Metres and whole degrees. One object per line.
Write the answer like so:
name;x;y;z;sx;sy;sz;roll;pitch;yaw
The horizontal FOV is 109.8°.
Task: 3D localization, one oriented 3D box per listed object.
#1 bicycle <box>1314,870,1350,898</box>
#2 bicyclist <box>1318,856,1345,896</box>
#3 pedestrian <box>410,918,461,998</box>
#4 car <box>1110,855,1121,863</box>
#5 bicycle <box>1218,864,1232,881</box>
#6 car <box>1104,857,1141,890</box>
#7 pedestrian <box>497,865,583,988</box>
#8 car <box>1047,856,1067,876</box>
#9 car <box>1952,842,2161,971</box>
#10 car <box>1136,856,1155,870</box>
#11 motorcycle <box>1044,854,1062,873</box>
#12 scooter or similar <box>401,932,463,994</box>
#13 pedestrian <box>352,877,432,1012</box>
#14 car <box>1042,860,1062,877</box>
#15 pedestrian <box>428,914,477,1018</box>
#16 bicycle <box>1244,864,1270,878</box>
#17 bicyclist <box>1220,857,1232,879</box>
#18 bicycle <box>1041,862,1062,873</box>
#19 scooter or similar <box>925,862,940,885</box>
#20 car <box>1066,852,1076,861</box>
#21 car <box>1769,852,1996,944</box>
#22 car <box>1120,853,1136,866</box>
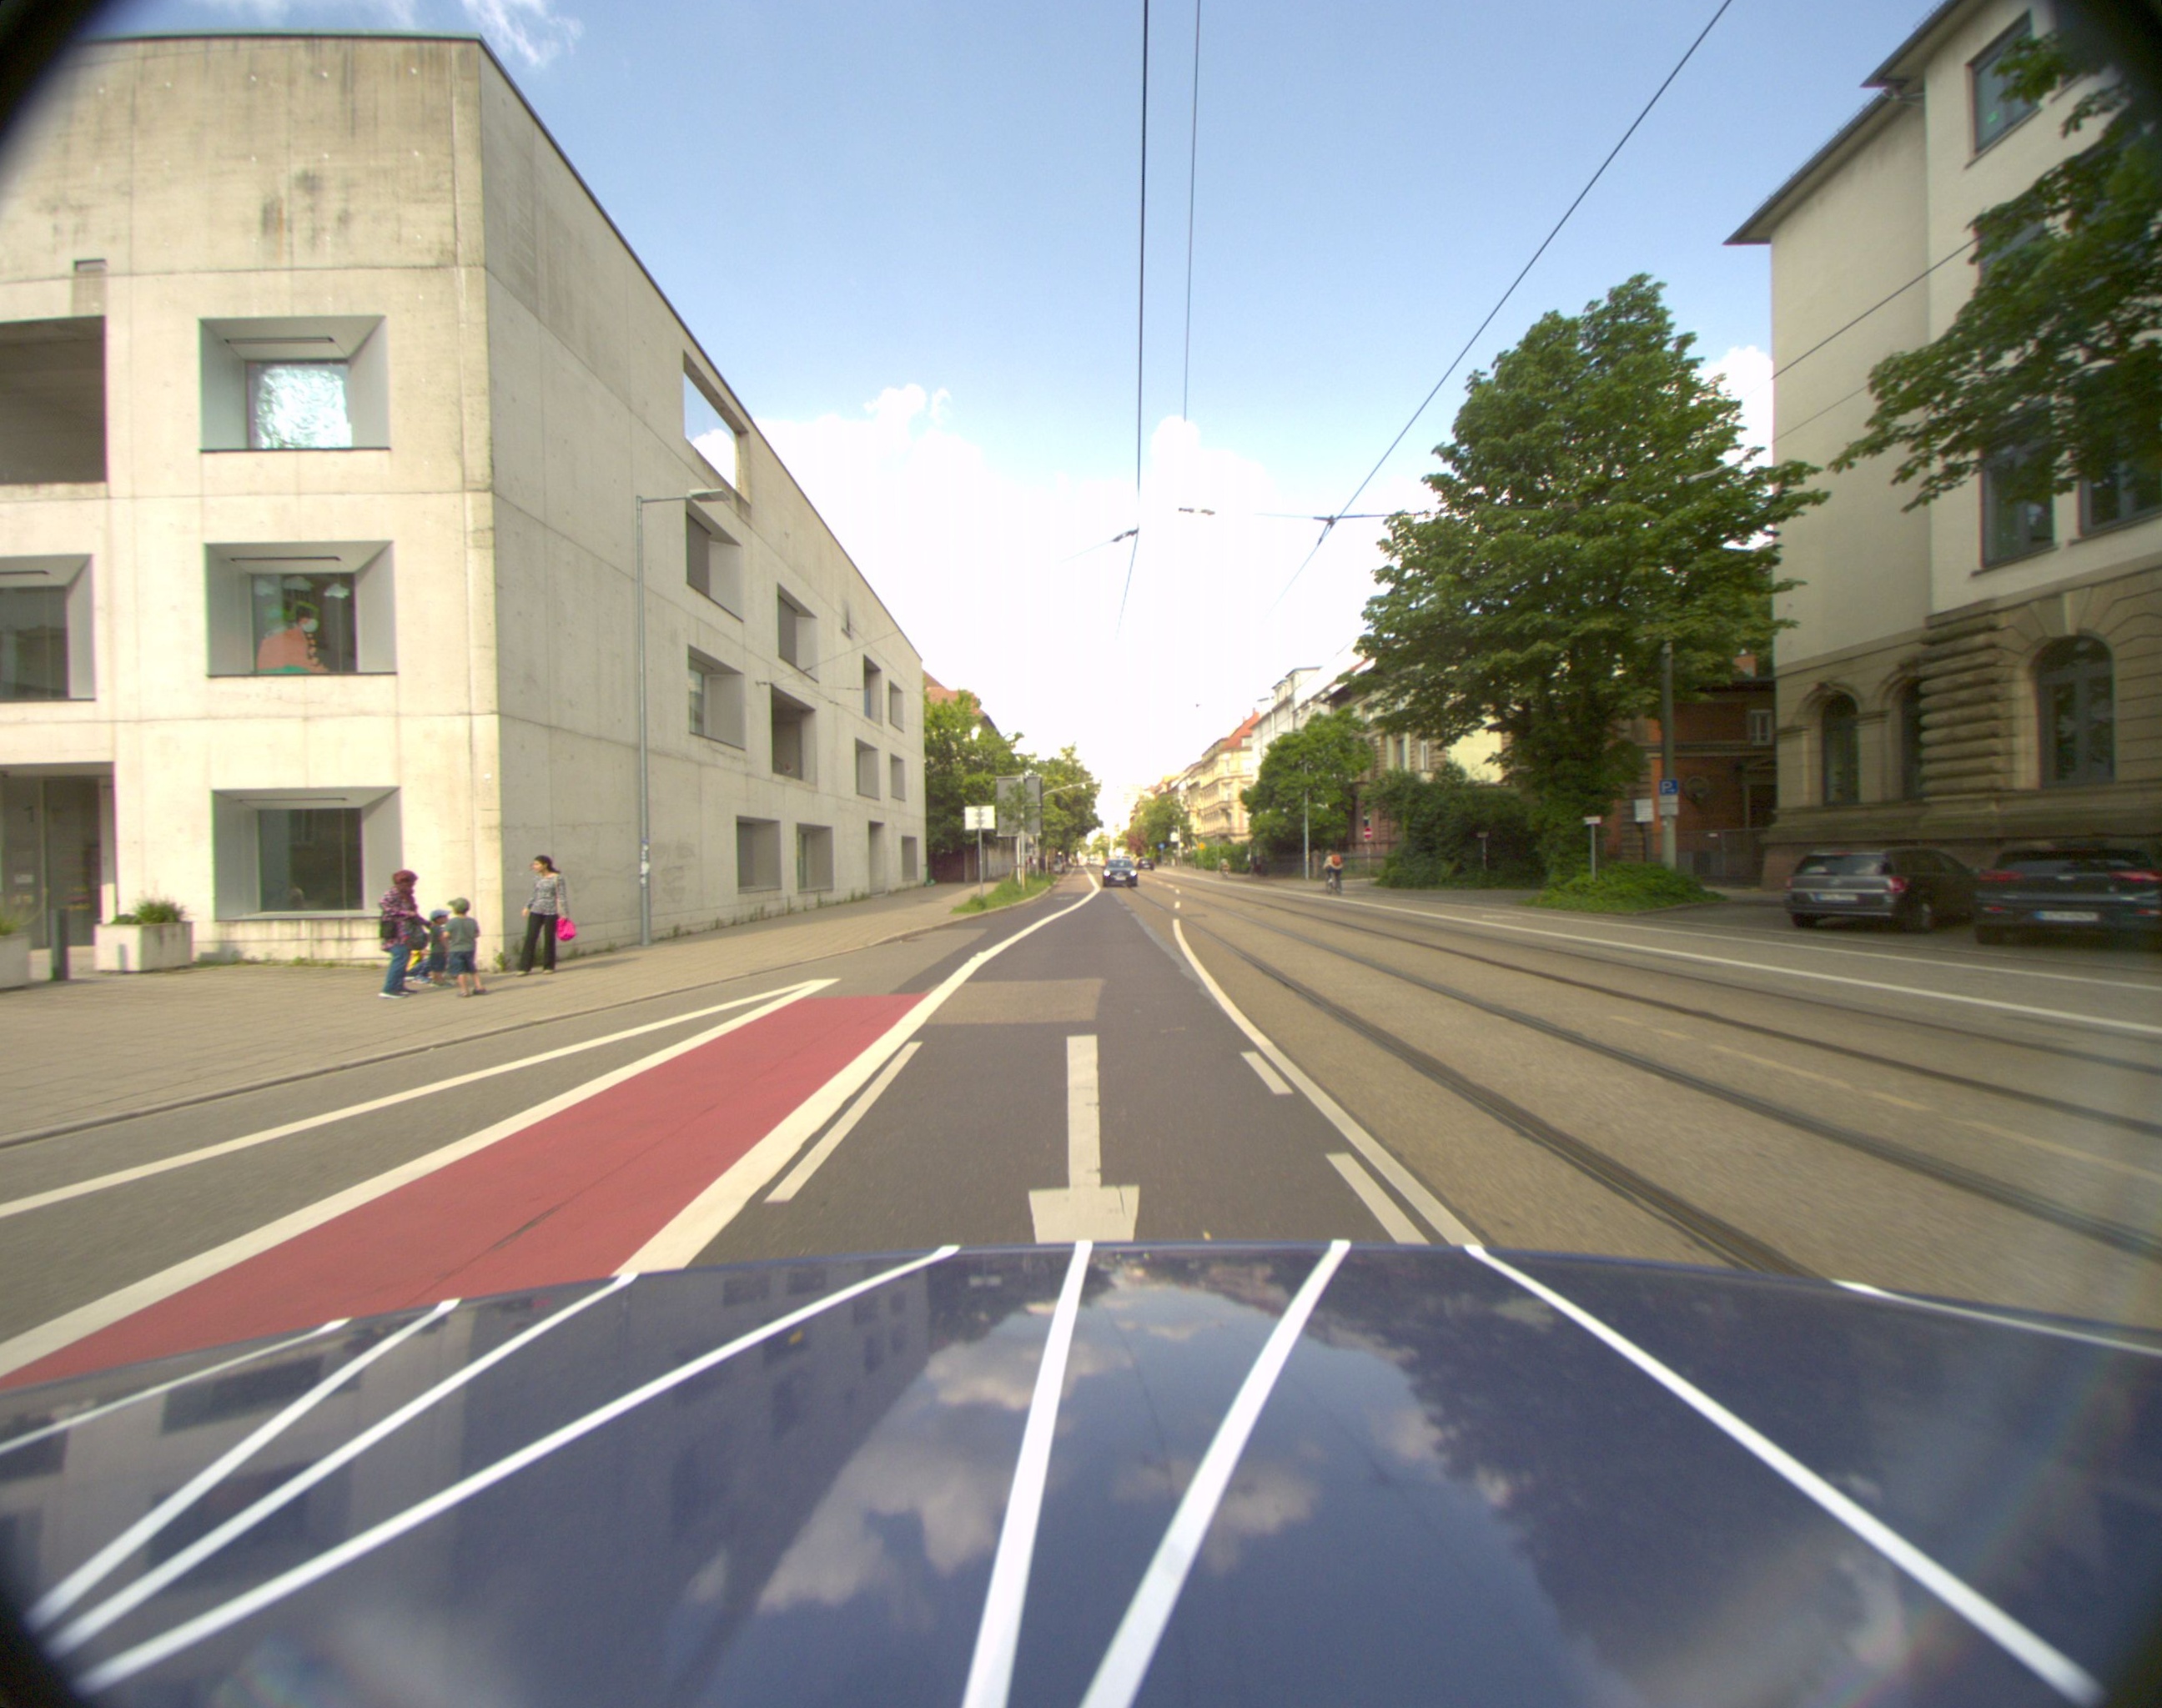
bicycle;9.623;1.135;29.187;0.701;1.011;1.819;0;0;-4
bicyclist;9.614;0.821;29.209;0.693;1.510;0.868;0;0;-3
pedestrian;-8.458;1.354;9.965;0.343;1.004;0.397;1;-1;-9
car;6.812;1.045;149.874;1.732;1.531;4.276;0;0;-1
bicycle;10.305;1.314;54.288;0.604;1.091;2.023;4;0;2
car;2.118;0.993;39.874;1.693;1.567;4.157;-1;0;0
pedestrian;-7.909;1.028;11.120;0.685;1.714;0.748;0;-1;24
car;-2.447;1.231;79.338;1.900;1.929;4.950;-1;0;0
car;15.106;0.668;11.418;4.248;1.541;1.923;-2;0;-31
car;7.141;0.987;83.815;1.693;1.393;3.930;1;0;-1
motorcycle;-2.311;0.791;63.561;0.982;1.532;2.442;-1;0;11
scooter or similar;-8.761;1.460;10.267;0.551;0.795;0.267;3;-2;-23
pedestrian;-8.373;1.072;9.240;0.519;1.570;0.550;0;-1;28
car;-2.663;1.339;70.716;1.711;1.489;4.789;-1;0;0
pedestrian;-7.677;1.346;9.283;0.423;1.193;0.405;1;-1;-42
bicycle;12.722;1.236;55.002;1.145;0.903;2.988;-4;0;0
bicyclist;10.327;0.993;54.223;0.600;1.484;0.882;4;0;2
bicycle;-2.567;1.208;67.030;1.780;0.897;0.692;-1;0;3
scooter or similar;-7.815;1.009;40.045;0.323;1.174;1.149;-1;0;13
car;-1.708;0.403;132.750;1.589;1.436;3.898;-1;0;0
car;14.951;0.730;14.151;4.247;1.438;1.790;-1;0;-27
car;7.095;0.886;116.001;1.902;1.896;5.383;-1;0;-2
